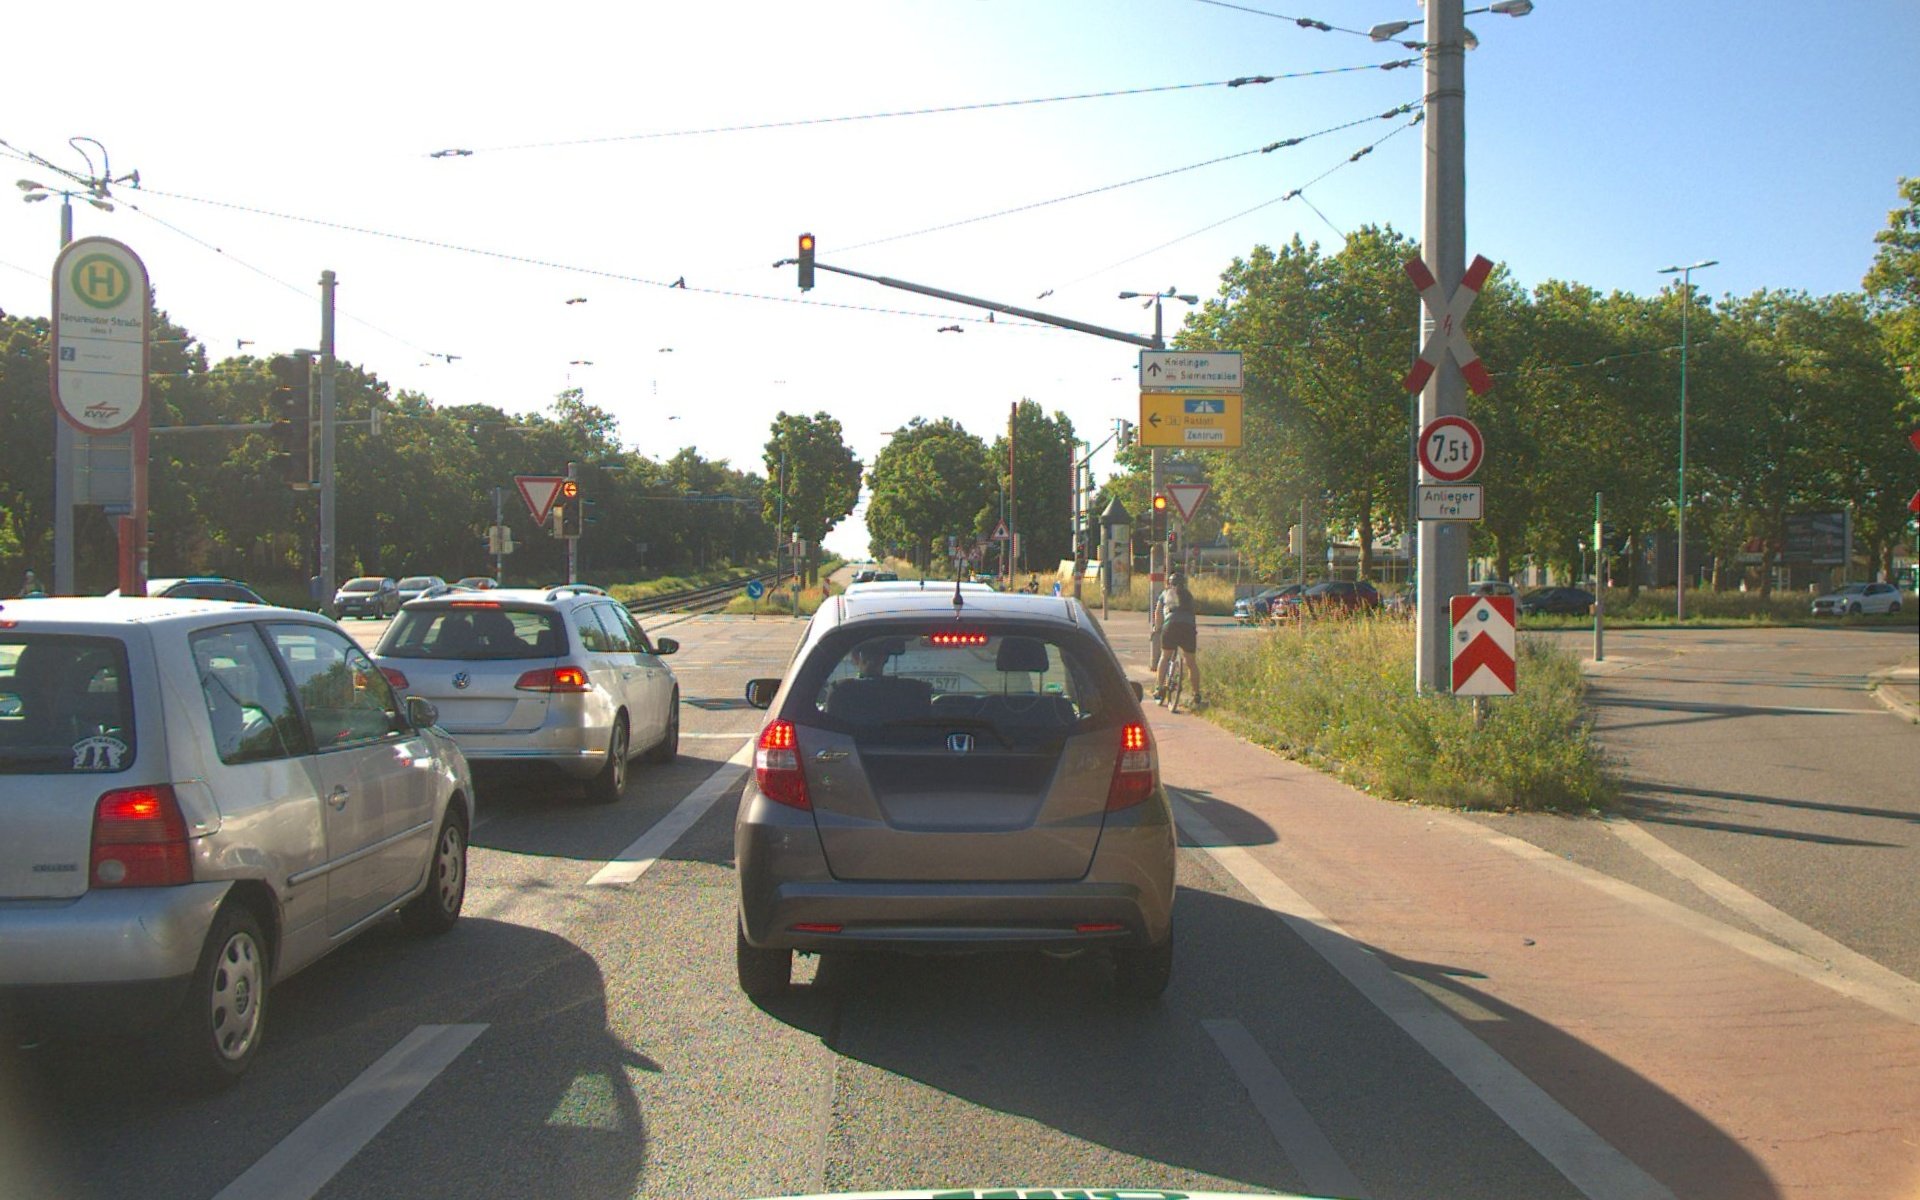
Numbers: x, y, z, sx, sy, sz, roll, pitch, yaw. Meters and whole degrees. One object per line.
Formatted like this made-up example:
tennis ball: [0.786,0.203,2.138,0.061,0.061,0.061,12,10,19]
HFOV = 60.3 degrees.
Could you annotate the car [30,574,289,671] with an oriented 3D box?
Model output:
car: [-13.954,0.344,29.068,1.556,1.571,3.979,0,1,27]

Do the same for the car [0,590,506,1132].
car: [-2.897,0.705,6.090,1.586,1.442,3.350,0,0,-1]

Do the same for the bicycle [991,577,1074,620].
bicycle: [2.782,-0.070,62.954,3.164,1.602,0.814,0,0,-26]

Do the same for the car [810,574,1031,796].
car: [-0.335,0.601,13.991,1.578,1.589,4.287,0,0,-1]

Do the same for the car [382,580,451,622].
car: [-21.488,0.023,65.541,1.798,1.575,4.277,0,0,-8]

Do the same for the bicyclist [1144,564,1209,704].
bicyclist: [2.764,0.429,21.209,0.652,1.746,0.948,1,0,-2]

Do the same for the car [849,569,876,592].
car: [-6.202,-1.224,105.079,1.494,1.403,3.670,0,0,-7]

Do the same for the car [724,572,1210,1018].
car: [-0.064,0.642,7.360,1.635,1.487,3.584,0,0,-3]

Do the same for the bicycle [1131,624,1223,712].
bicycle: [2.752,0.842,21.288,0.707,1.006,2.875,1,0,-2]

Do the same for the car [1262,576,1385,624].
car: [12.356,-0.012,56.168,3.934,1.557,1.594,-1,1,-24]

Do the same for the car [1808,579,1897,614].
car: [40.088,-0.151,74.284,3.938,1.527,1.580,-1,0,-26]

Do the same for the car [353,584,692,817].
car: [-3.156,0.656,12.730,1.586,1.482,4.084,1,0,-1]

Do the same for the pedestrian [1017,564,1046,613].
pedestrian: [2.727,-0.444,62.940,0.842,1.868,0.784,0,0,-26]

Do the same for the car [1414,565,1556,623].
car: [19.019,-0.226,59.889,4.823,2.049,1.985,0,0,-24]

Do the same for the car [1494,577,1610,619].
car: [23.589,-0.097,65.874,4.450,1.601,1.681,0,0,-24]

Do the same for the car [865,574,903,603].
car: [-4.076,-0.623,88.260,1.678,1.504,3.993,0,0,-8]

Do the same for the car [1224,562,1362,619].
car: [12.174,-0.327,60.454,4.626,1.912,1.985,2,0,-24]

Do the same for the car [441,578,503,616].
car: [-21.736,-0.161,73.790,1.956,1.632,4.746,1,1,-8]

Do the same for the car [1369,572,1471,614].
car: [17.625,-0.283,63.311,3.694,1.597,1.480,0,0,-24]

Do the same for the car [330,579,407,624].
car: [-21.319,0.040,59.752,1.798,1.575,3.993,0,0,-8]
